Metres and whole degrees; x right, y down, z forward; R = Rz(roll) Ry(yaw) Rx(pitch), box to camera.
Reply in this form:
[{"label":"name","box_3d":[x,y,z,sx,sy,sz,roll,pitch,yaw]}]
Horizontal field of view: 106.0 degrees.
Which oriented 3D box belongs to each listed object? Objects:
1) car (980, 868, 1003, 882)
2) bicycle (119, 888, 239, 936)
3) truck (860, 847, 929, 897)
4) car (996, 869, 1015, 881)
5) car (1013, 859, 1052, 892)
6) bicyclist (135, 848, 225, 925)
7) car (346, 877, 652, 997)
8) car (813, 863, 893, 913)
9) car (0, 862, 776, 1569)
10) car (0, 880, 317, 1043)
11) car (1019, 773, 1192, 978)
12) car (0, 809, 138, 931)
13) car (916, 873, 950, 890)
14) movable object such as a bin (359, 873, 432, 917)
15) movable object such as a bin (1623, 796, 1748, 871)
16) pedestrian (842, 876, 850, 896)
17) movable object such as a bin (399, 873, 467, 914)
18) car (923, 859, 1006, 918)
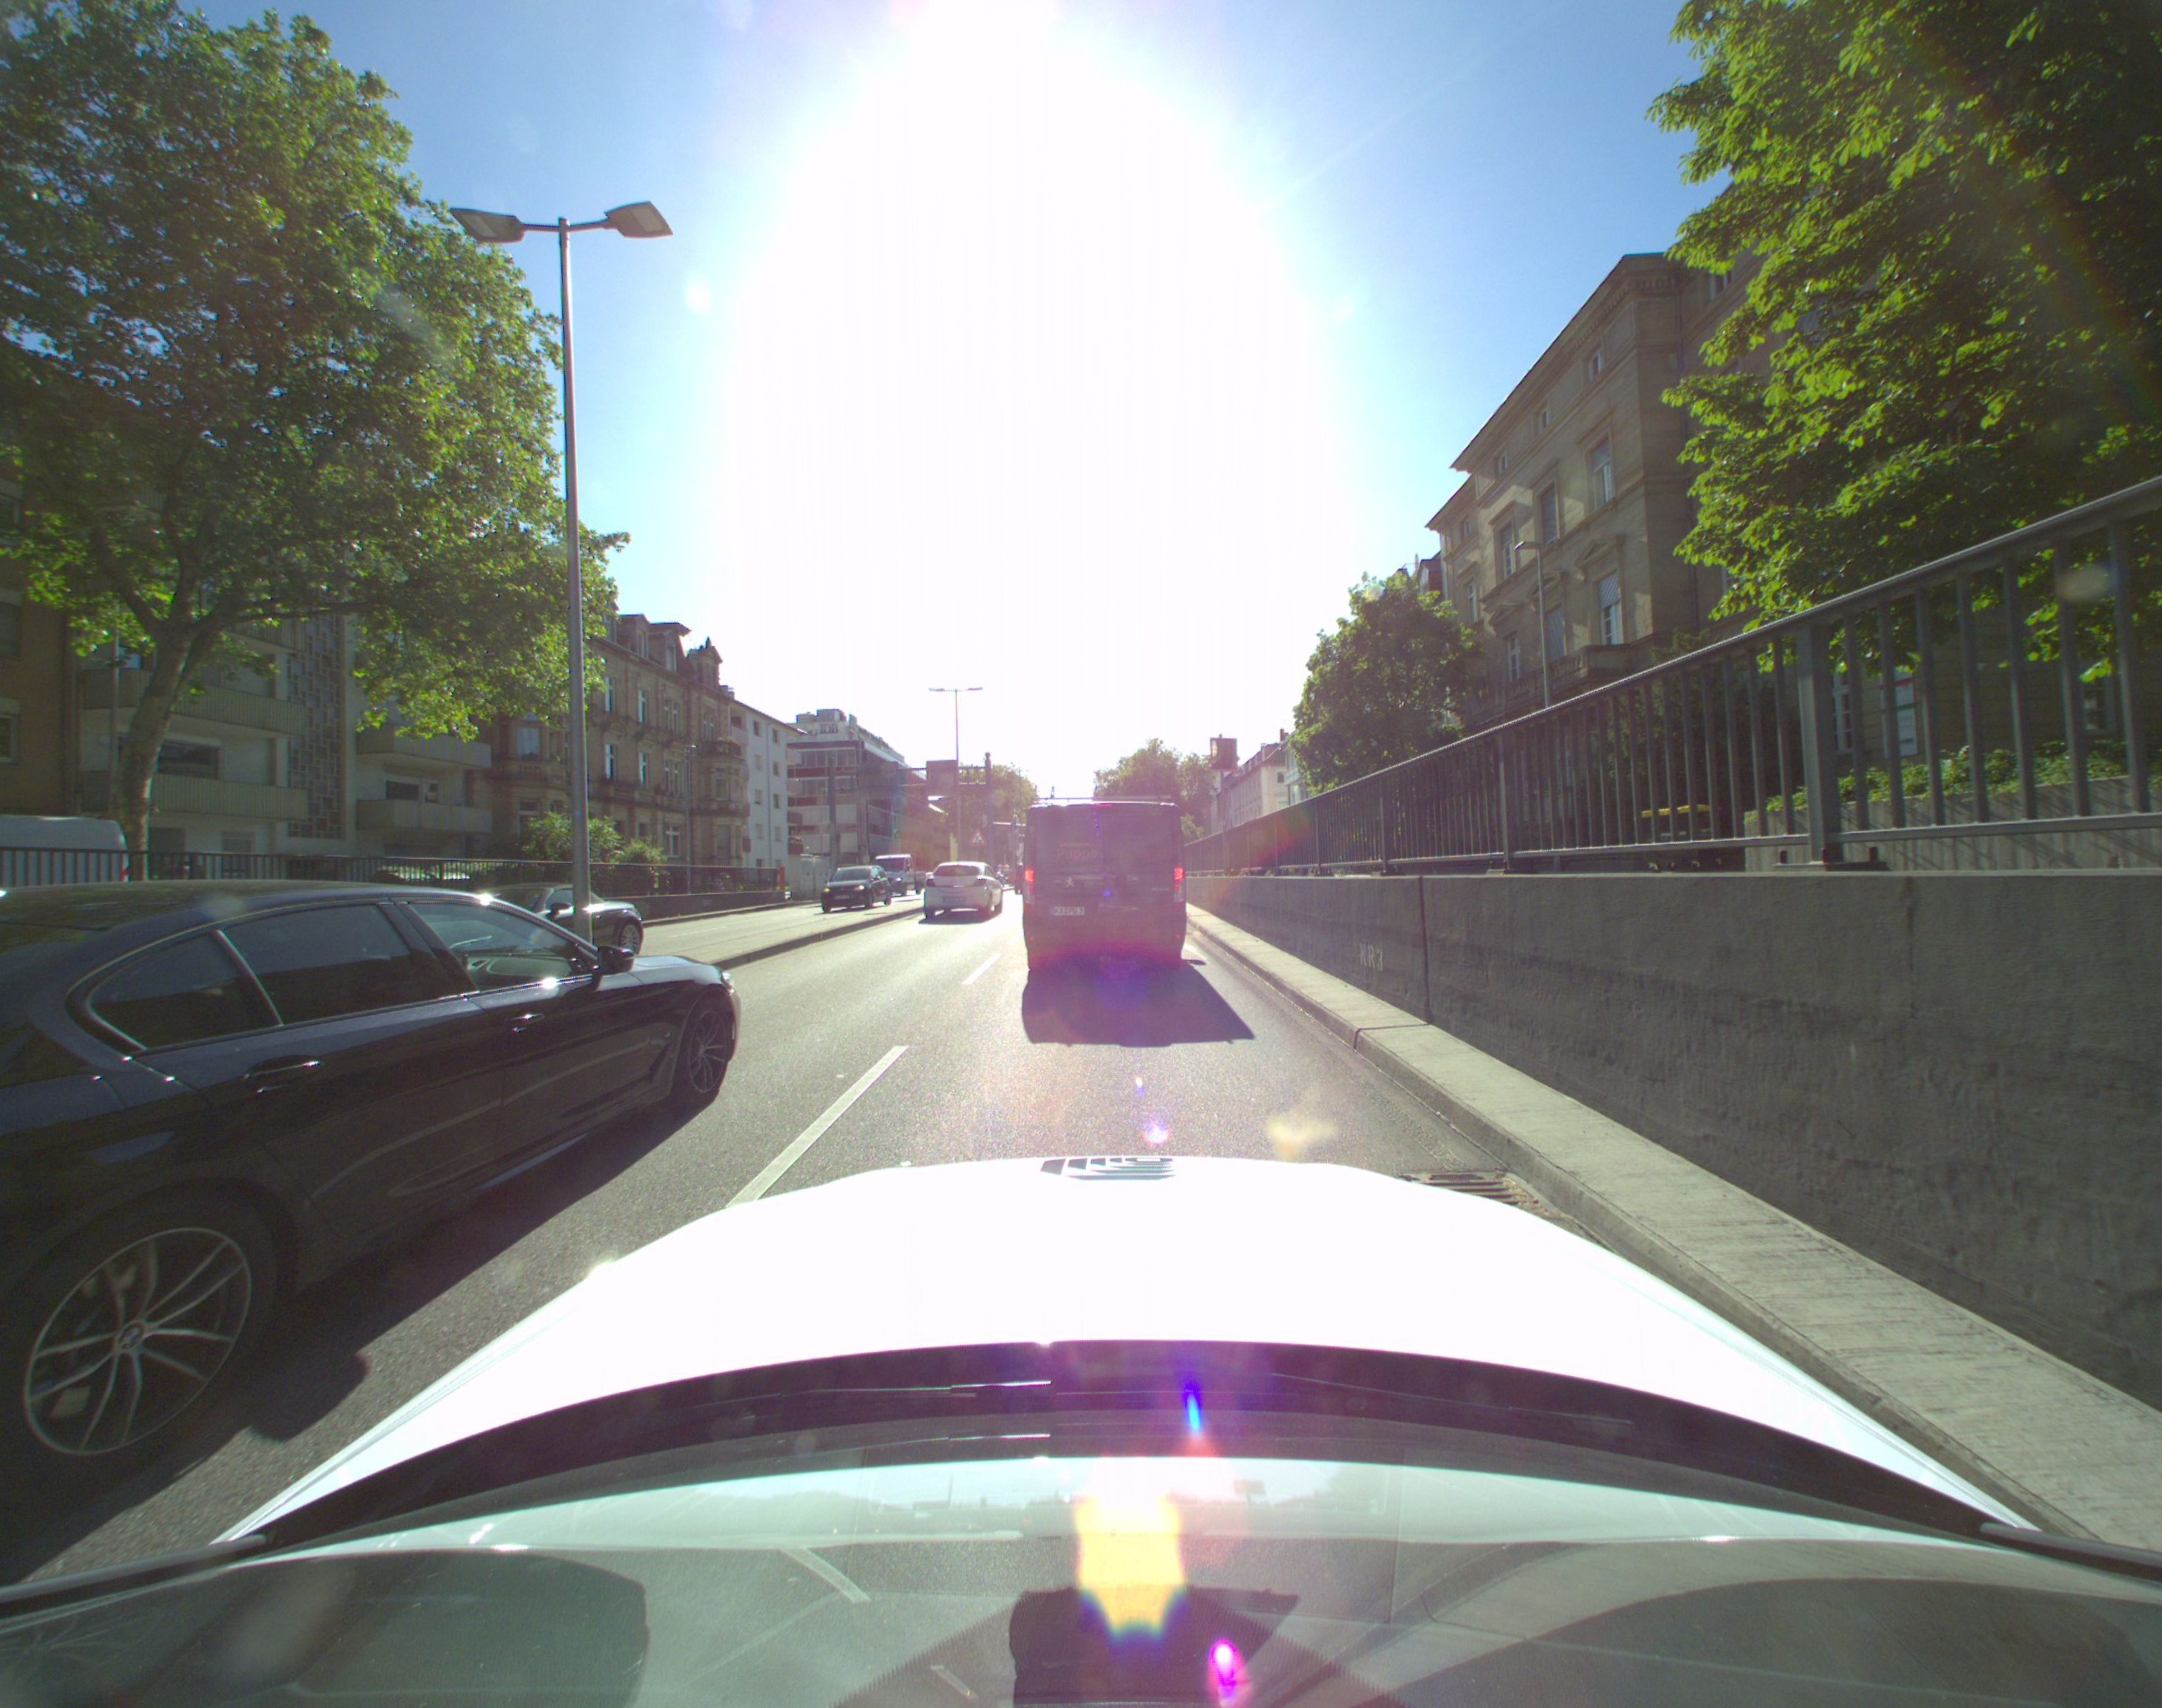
[{"label":"car","box_3d":[-9.930,2.341,90.448,1.929,1.555,3.924,0,-1,2]},{"label":"bicycle","box_3d":[-19.526,1.237,17.683,0.654,0.927,1.757,0,-1,-2]},{"label":"truck","box_3d":[-10.545,1.019,46.680,2.220,2.528,6.132,-3,-1,2]},{"label":"car","box_3d":[-9.636,2.666,104.577,1.929,1.555,3.924,0,-1,2]},{"label":"car","box_3d":[-2.322,1.017,39.750,1.683,1.483,3.319,0,0,1]},{"label":"bicyclist","box_3d":[-19.529,0.691,17.674,0.773,1.633,1.022,0,-1,-2]},{"label":"car","box_3d":[-8.132,1.060,11.894,1.533,1.300,3.928,-4,-1,1]},{"label":"car","box_3d":[-7.771,1.118,28.107,1.604,1.457,3.608,-5,-1,0]},{"label":"car","box_3d":[-3.164,0.789,3.438,1.802,1.439,5.002,0,0,1]},{"label":"car","box_3d":[-11.163,1.137,9.148,1.533,1.465,3.718,-4,0,1]},{"label":"car","box_3d":[0.338,0.284,11.706,2.023,2.402,3.973,-1,-1,1]},{"label":"car","box_3d":[-21.813,0.305,15.187,1.986,2.359,5.421,0,-1,2]},{"label":"car","box_3d":[-12.643,2.337,69.800,1.665,1.410,3.626,-1,-1,11]},{"label":"movable object such as a bin","box_3d":[-22.860,1.352,27.187,1.274,1.402,1.301,0,-1,1]},{"label":"movable object such as a bin","box_3d":[12.554,-0.408,16.961,1.449,1.324,1.402,-7,0,-16]},{"label":"pedestrian","box_3d":[-22.450,3.084,77.915,0.659,1.896,0.720,0,-1,-12]},{"label":"movable object such as a bin","box_3d":[-22.684,1.372,28.555,1.274,1.402,1.325,0,-1,1]},{"label":"car","box_3d":[-3.058,0.864,22.076,1.613,1.403,3.852,0,0,1]}]
